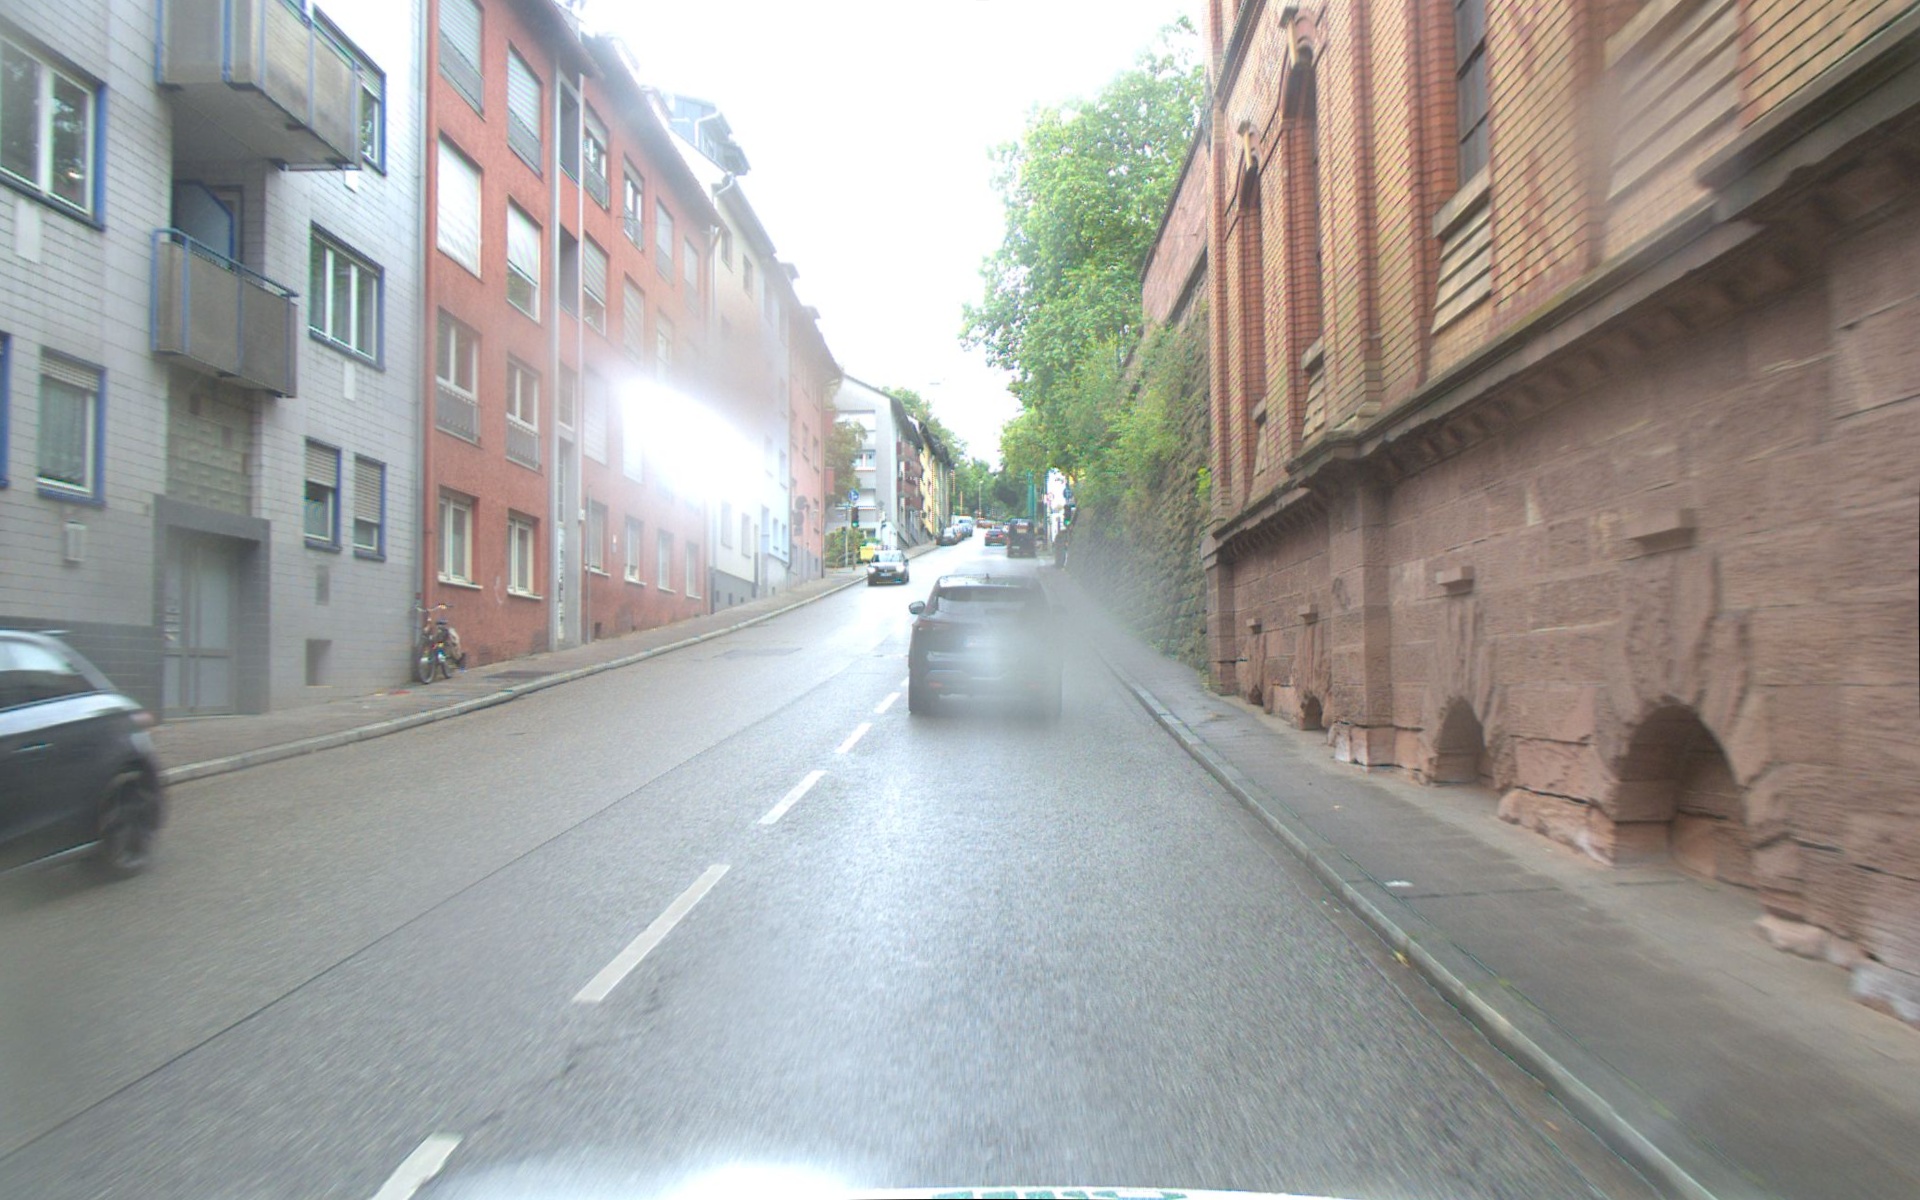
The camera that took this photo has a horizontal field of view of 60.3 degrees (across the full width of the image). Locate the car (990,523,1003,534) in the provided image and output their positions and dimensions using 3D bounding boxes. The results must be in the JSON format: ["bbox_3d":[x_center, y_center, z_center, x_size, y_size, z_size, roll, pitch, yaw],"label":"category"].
[{"bbox_3d":[5.408,-10.528,244.567,1.757,1.536,4.001,-1,1,2],"label":"car"}]

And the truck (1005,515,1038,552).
[{"bbox_3d":[4.290,-4.625,115.114,2.242,2.482,4.454,-1,1,2],"label":"truck"}]

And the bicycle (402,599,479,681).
[{"bbox_3d":[-7.716,0.573,24.639,0.488,1.127,1.801,0,2,3],"label":"bicycle"}]

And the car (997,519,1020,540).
[{"bbox_3d":[3.797,-5.530,129.966,1.757,1.536,4.502,-1,1,2],"label":"car"}]

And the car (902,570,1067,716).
[{"bbox_3d":[0.287,0.440,20.373,1.842,1.621,3.922,0,1,0],"label":"car"}]

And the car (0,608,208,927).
[{"bbox_3d":[-5.156,0.809,7.526,1.611,1.402,3.851,-3,1,1],"label":"car"}]

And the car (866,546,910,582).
[{"bbox_3d":[-3.177,-1.618,73.136,1.678,1.473,3.923,-1,2,1],"label":"car"}]

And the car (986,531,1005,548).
[{"bbox_3d":[3.346,-5.751,156.720,1.757,1.536,4.001,-1,1,2],"label":"car"}]

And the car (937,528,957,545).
[{"bbox_3d":[-1.235,-6.126,160.014,1.757,1.536,4.001,-1,1,2],"label":"car"}]
